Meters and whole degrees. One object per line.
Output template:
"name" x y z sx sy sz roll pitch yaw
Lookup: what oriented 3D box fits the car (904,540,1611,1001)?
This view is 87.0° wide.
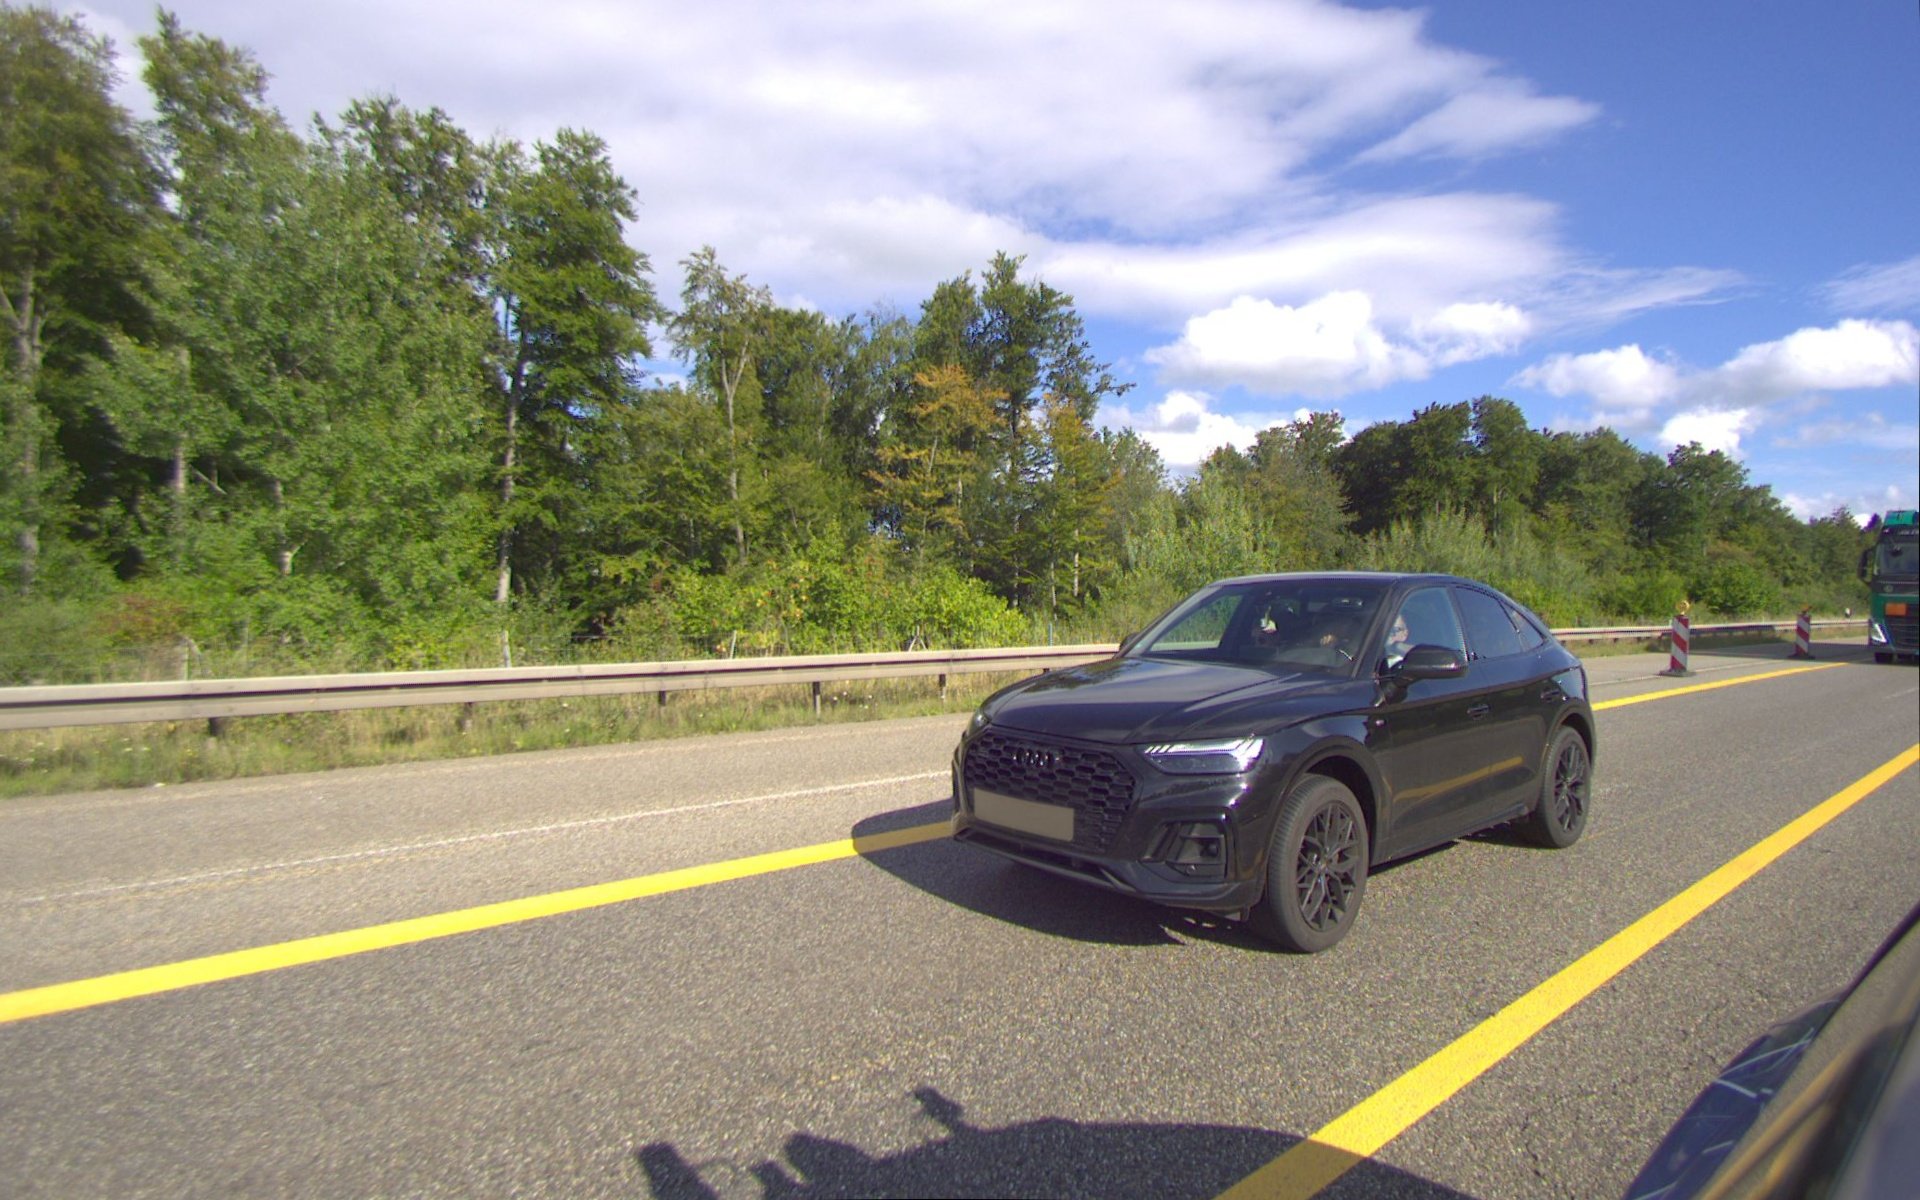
"car" 1.896 0.585 5.627 4.218 1.623 1.781 0 0 -41

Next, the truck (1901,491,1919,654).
"truck" 30.665 -0.661 29.789 13.953 4.196 2.469 1 -1 -39

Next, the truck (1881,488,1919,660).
"truck" 26.062 -0.639 26.026 6.733 4.151 2.527 0 0 -39
